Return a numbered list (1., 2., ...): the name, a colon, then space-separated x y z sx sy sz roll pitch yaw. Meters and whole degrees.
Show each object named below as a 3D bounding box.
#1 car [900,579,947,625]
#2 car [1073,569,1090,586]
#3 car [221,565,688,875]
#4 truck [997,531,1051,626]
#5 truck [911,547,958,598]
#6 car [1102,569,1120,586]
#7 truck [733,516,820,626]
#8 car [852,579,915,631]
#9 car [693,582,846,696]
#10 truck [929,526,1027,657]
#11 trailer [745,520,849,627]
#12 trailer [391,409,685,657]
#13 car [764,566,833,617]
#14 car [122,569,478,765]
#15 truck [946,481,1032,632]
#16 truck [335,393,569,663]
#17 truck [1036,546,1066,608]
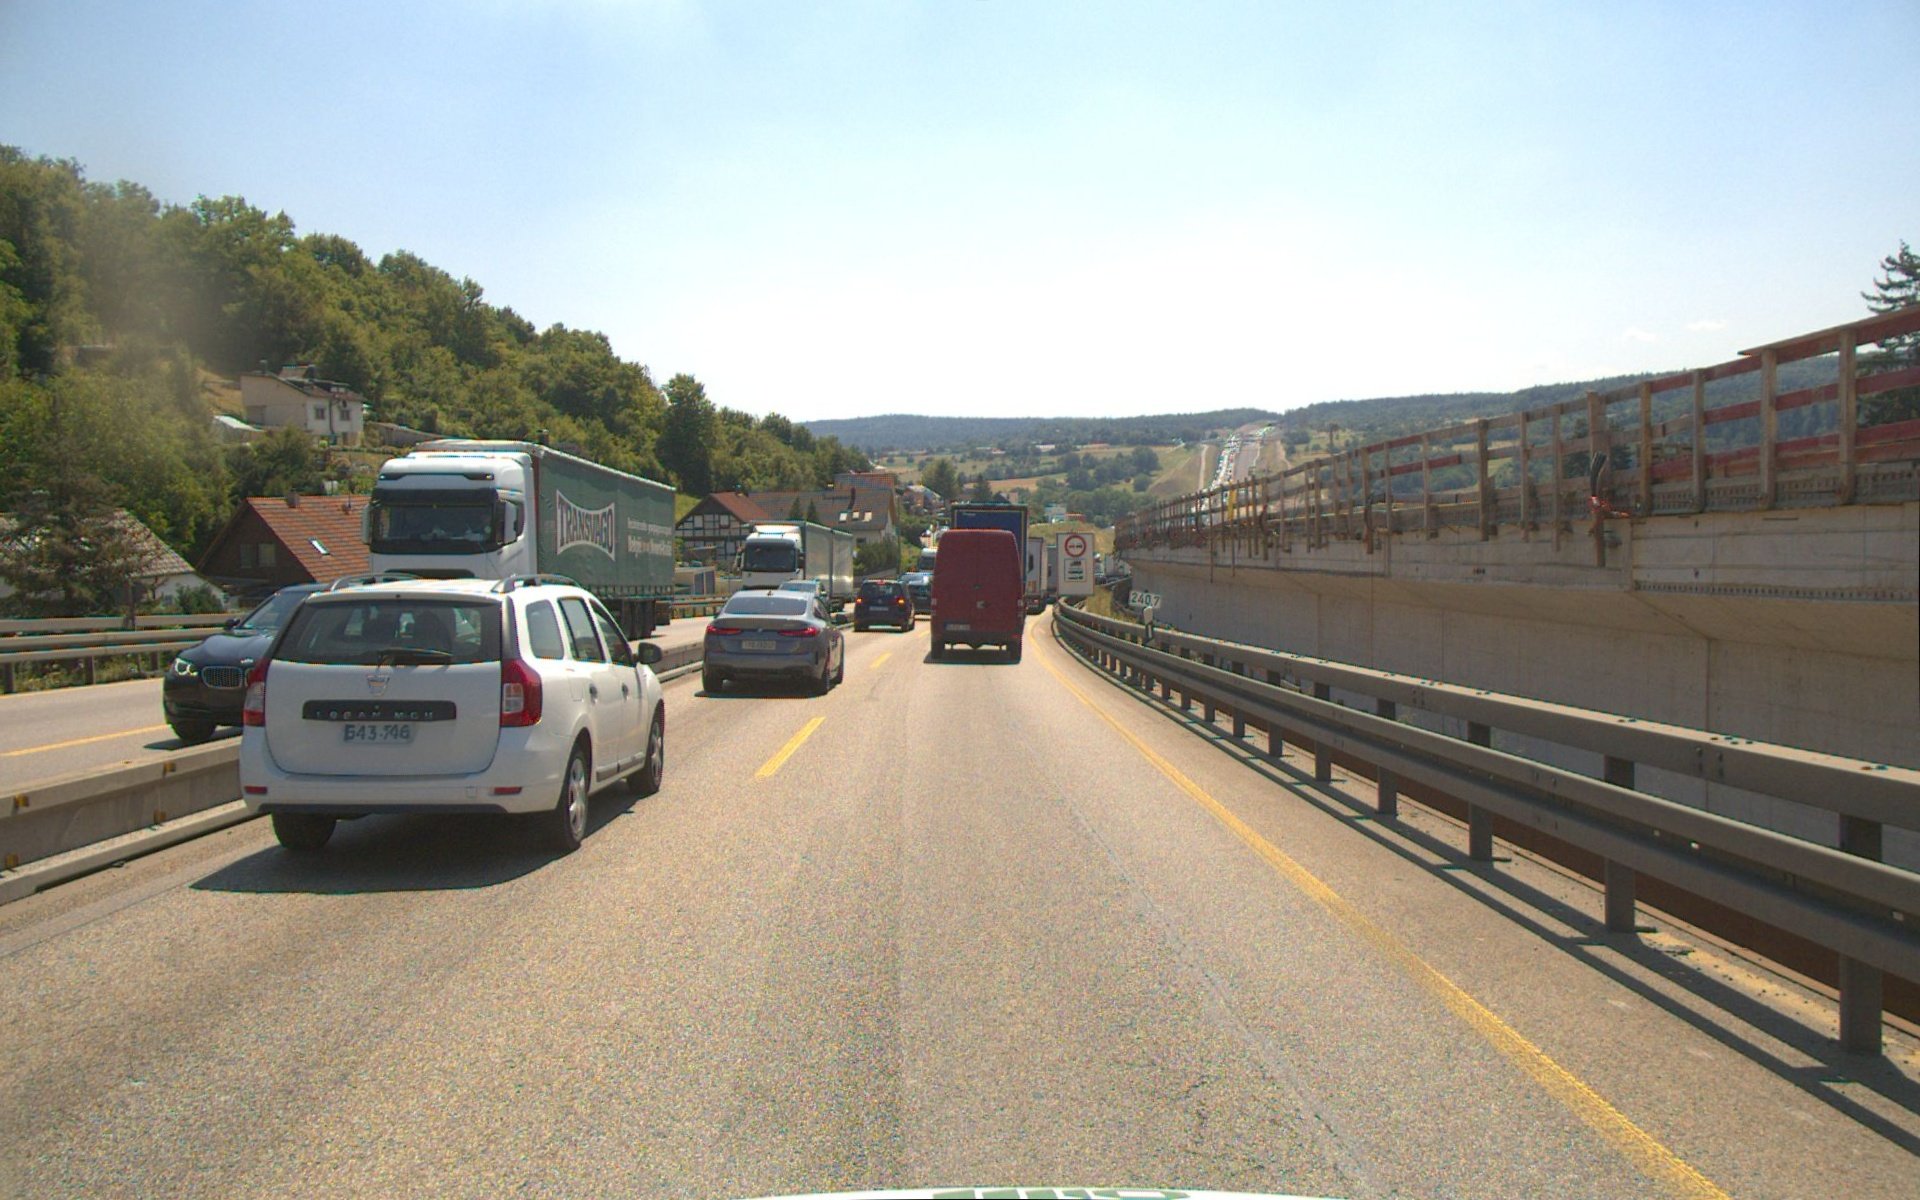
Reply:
1. car: -1.511 0.114 69.954 1.693 1.870 4.001 1 -1 2
2. car: 15.833 -2.934 215.683 1.765 2.049 4.004 1 0 10
3. car: -2.889 0.611 10.440 1.618 1.509 4.266 -2 0 0
4. truck: 3.476 -1.080 90.432 2.728 4.900 9.686 1 -1 2
5. truck: -2.160 -2.385 144.176 2.915 4.234 10.553 1 1 6
6. car: 20.413 -3.042 223.752 2.086 2.049 4.003 1 -2 9
7. truck: -8.042 -1.209 73.181 2.787 4.660 5.790 1 -1 3
8. car: -2.466 0.175 54.052 1.772 1.636 3.720 1 -1 2
9. car: -2.693 0.513 24.200 1.758 1.511 4.049 0 0 0
10. truck: 0.369 -0.154 35.474 1.952 2.624 4.000 1 -1 0
11. trailer: -7.697 -1.108 80.404 2.774 4.723 14.586 1 -1 3
12. trailer: -9.565 -1.382 39.899 3.001 4.899 14.006 0 0 2
13. car: -5.539 -0.295 57.224 1.916 1.710 4.114 0 0 1
14. car: -6.365 0.599 16.631 1.954 1.669 4.848 1 -1 -5
15. truck: 1.081 -1.378 58.601 2.728 4.900 9.686 1 -1 2
16. truck: -9.807 -1.328 32.444 2.997 4.905 4.646 0 0 2
17. truck: 6.729 -1.677 122.164 1.951 4.458 4.002 1 -1 6
